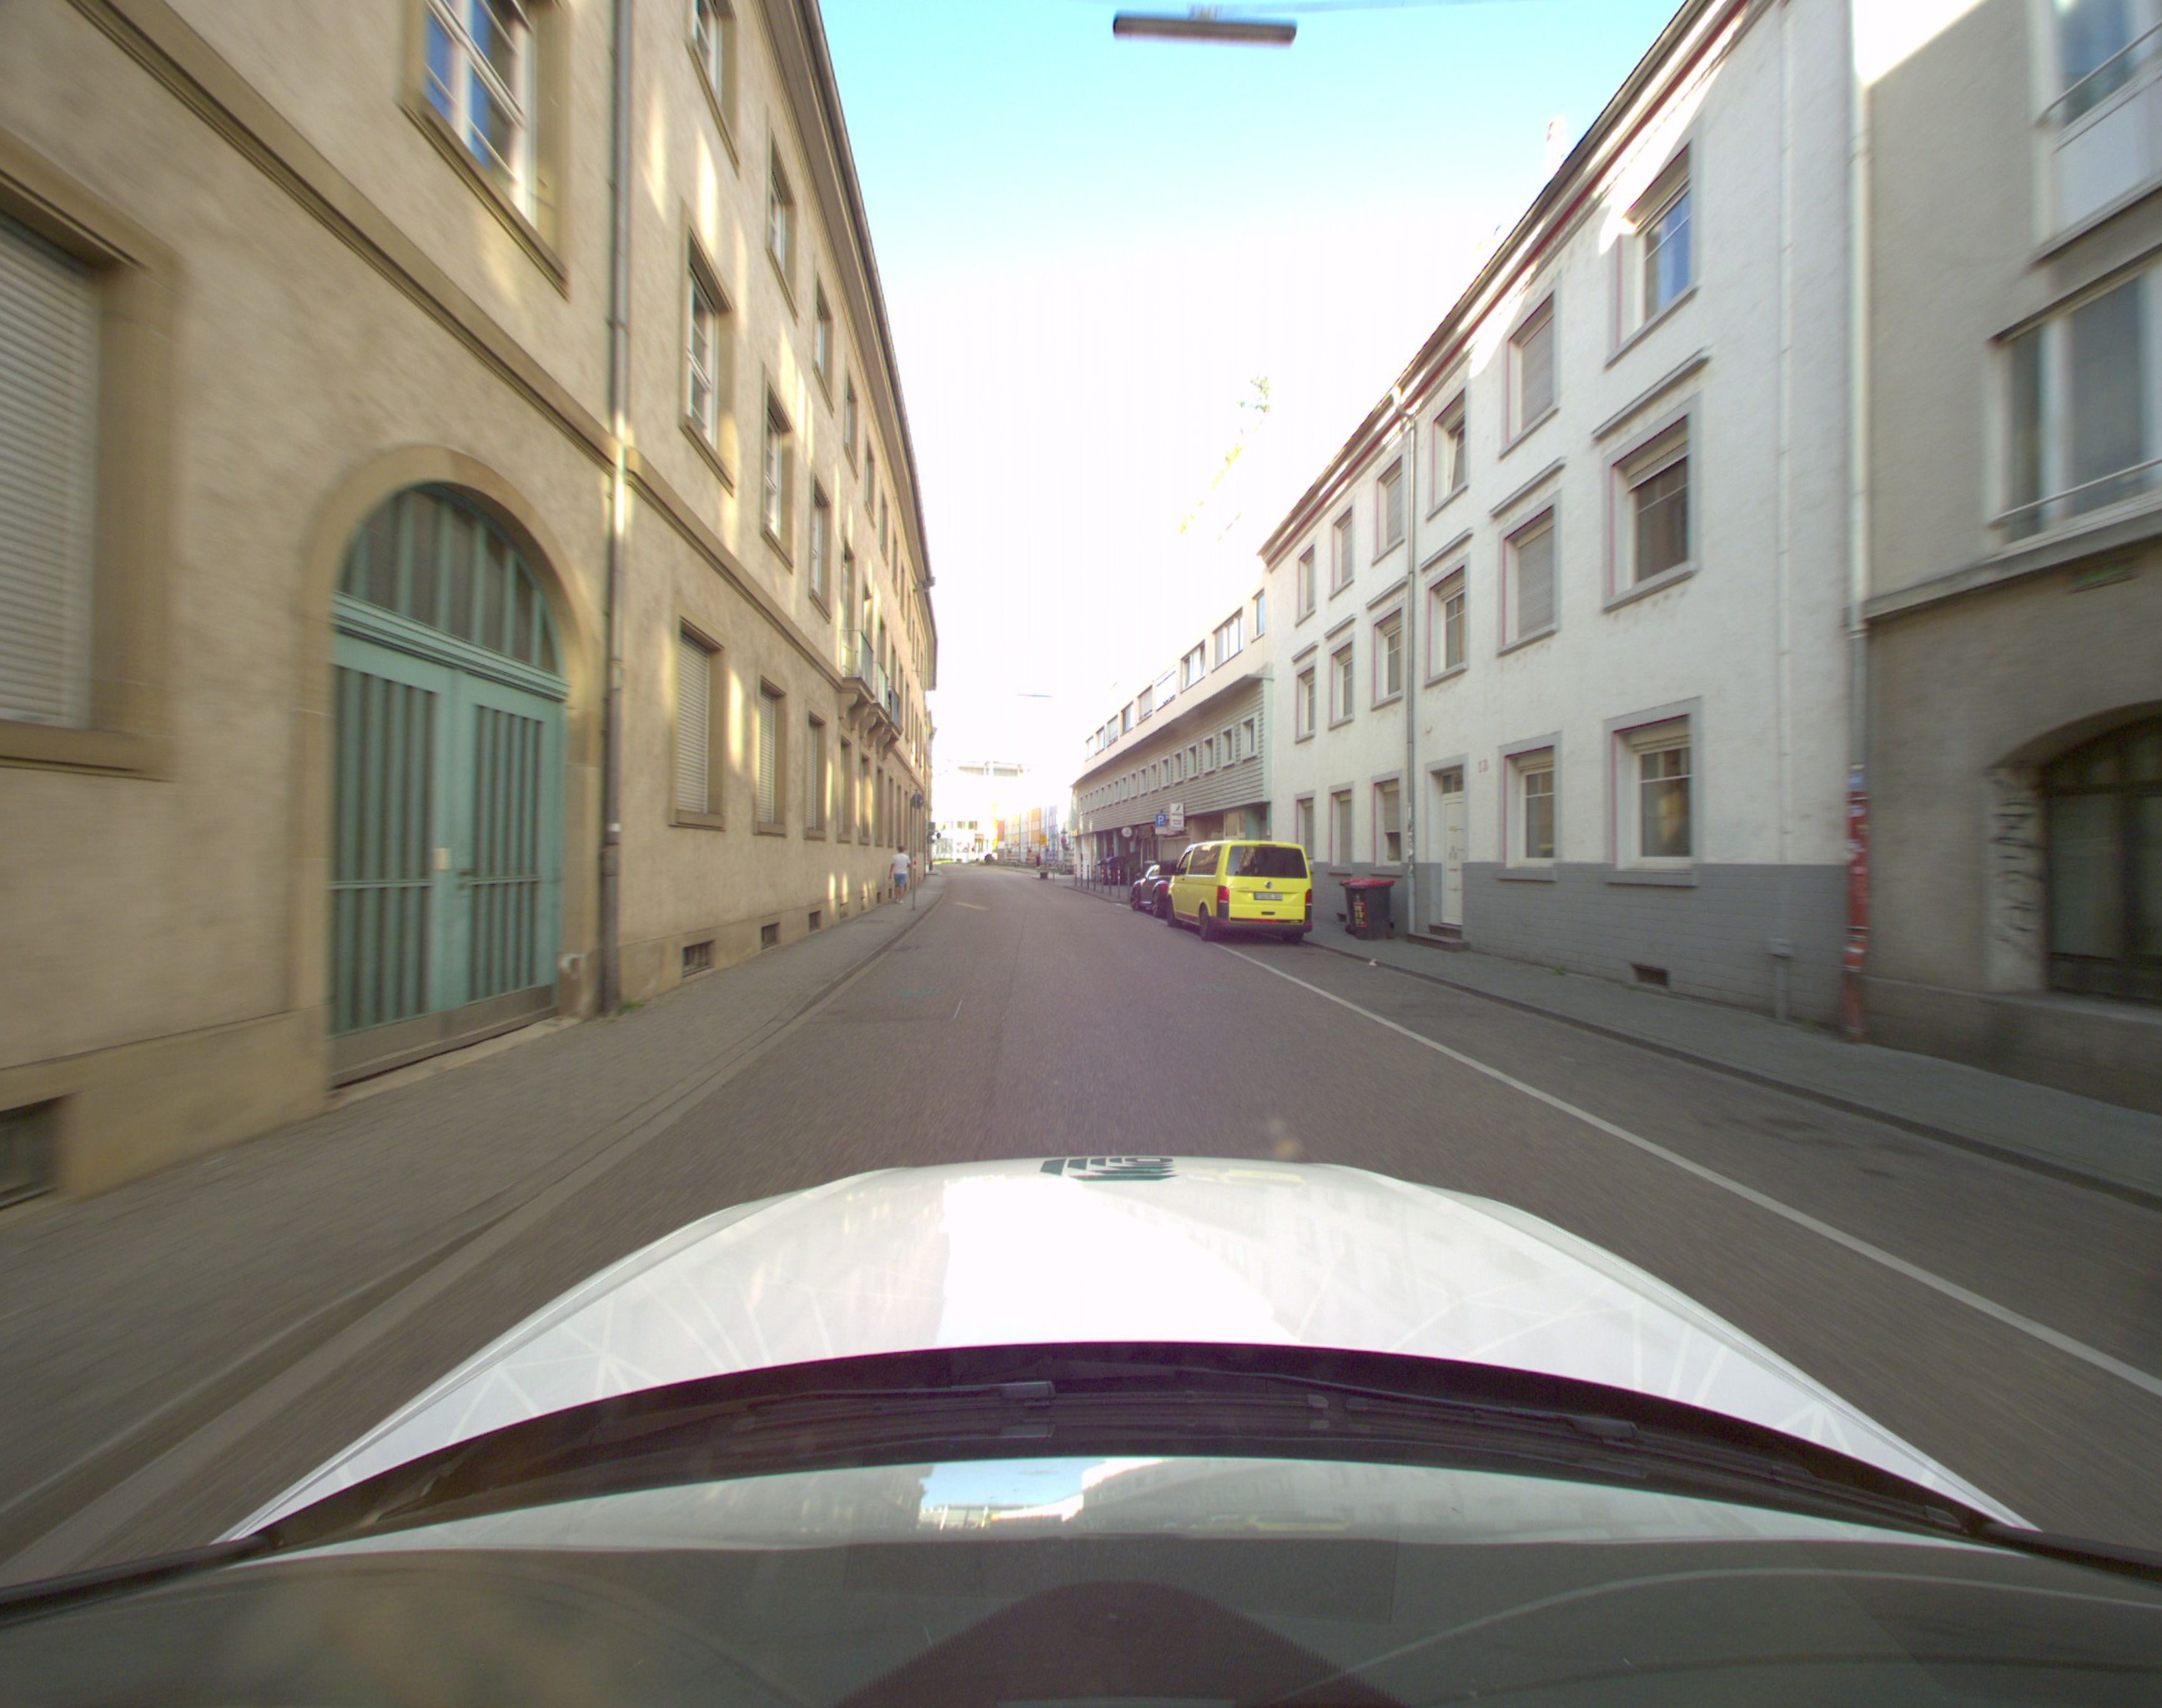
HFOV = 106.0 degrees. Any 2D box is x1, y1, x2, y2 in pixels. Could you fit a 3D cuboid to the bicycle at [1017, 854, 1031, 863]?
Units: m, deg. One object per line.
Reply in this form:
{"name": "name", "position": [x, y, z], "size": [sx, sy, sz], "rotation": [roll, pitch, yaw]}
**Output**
{"name": "bicycle", "position": [-7.458, 0.629, 106.694], "size": [1.812, 1.137, 0.549], "rotation": [0, -1, -13]}

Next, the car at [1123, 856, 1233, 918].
{"name": "car", "position": [2.506, 0.819, 22.116], "size": [1.882, 1.489, 4.355], "rotation": [1, 0, -8]}

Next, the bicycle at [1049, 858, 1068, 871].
{"name": "bicycle", "position": [-2.109, 0.953, 76.534], "size": [1.749, 1.141, 0.550], "rotation": [-3, 1, -12]}

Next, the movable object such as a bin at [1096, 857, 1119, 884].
{"name": "movable object such as a bin", "position": [1.380, 0.883, 42.478], "size": [0.981, 1.385, 1.316], "rotation": [-1, -2, -9]}

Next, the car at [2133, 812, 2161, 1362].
{"name": "car", "position": [4.237, 0.719, 0.319], "size": [1.820, 1.654, 4.490], "rotation": [1, 0, -2]}

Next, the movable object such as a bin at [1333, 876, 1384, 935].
{"name": "movable object such as a bin", "position": [5.348, 0.973, 15.721], "size": [0.606, 1.051, 0.707], "rotation": [-4, 0, -7]}

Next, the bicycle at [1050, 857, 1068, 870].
{"name": "bicycle", "position": [-2.136, 0.945, 77.964], "size": [1.646, 1.141, 0.281], "rotation": [-3, 1, -20]}

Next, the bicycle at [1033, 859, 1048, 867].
{"name": "bicycle", "position": [-4.571, 0.996, 92.050], "size": [1.749, 0.946, 0.324], "rotation": [-1, -1, -11]}

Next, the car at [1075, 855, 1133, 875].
{"name": "car", "position": [1.695, 0.834, 61.058], "size": [4.080, 1.482, 1.858], "rotation": [0, -1, -11]}

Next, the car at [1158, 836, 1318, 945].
{"name": "car", "position": [3.004, 0.645, 16.753], "size": [1.881, 1.882, 4.835], "rotation": [1, 0, -6]}

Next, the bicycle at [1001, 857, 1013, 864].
{"name": "bicycle", "position": [-10.944, 1.014, 120.492], "size": [1.757, 1.004, 0.610], "rotation": [-1, -1, -16]}

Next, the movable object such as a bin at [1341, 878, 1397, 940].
{"name": "movable object such as a bin", "position": [5.264, 0.989, 14.910], "size": [0.626, 1.051, 0.706], "rotation": [-4, 0, -11]}

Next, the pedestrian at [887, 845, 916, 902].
{"name": "pedestrian", "position": [-5.400, 0.592, 24.558], "size": [0.692, 1.670, 0.873], "rotation": [2, -1, -7]}

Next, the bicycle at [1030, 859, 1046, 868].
{"name": "bicycle", "position": [-4.746, 1.051, 90.162], "size": [1.749, 0.946, 0.550], "rotation": [-1, -1, -12]}

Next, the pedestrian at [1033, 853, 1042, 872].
{"name": "pedestrian", "position": [-4.148, 0.807, 77.575], "size": [0.697, 1.760, 1.184], "rotation": [-2, 0, -11]}

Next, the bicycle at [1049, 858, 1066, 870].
{"name": "bicycle", "position": [-2.240, 0.949, 78.219], "size": [1.607, 1.141, 0.236], "rotation": [-3, 1, -20]}

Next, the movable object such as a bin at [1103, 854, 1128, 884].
{"name": "movable object such as a bin", "position": [1.724, 0.772, 40.944], "size": [0.981, 1.480, 1.546], "rotation": [-1, -2, -9]}
